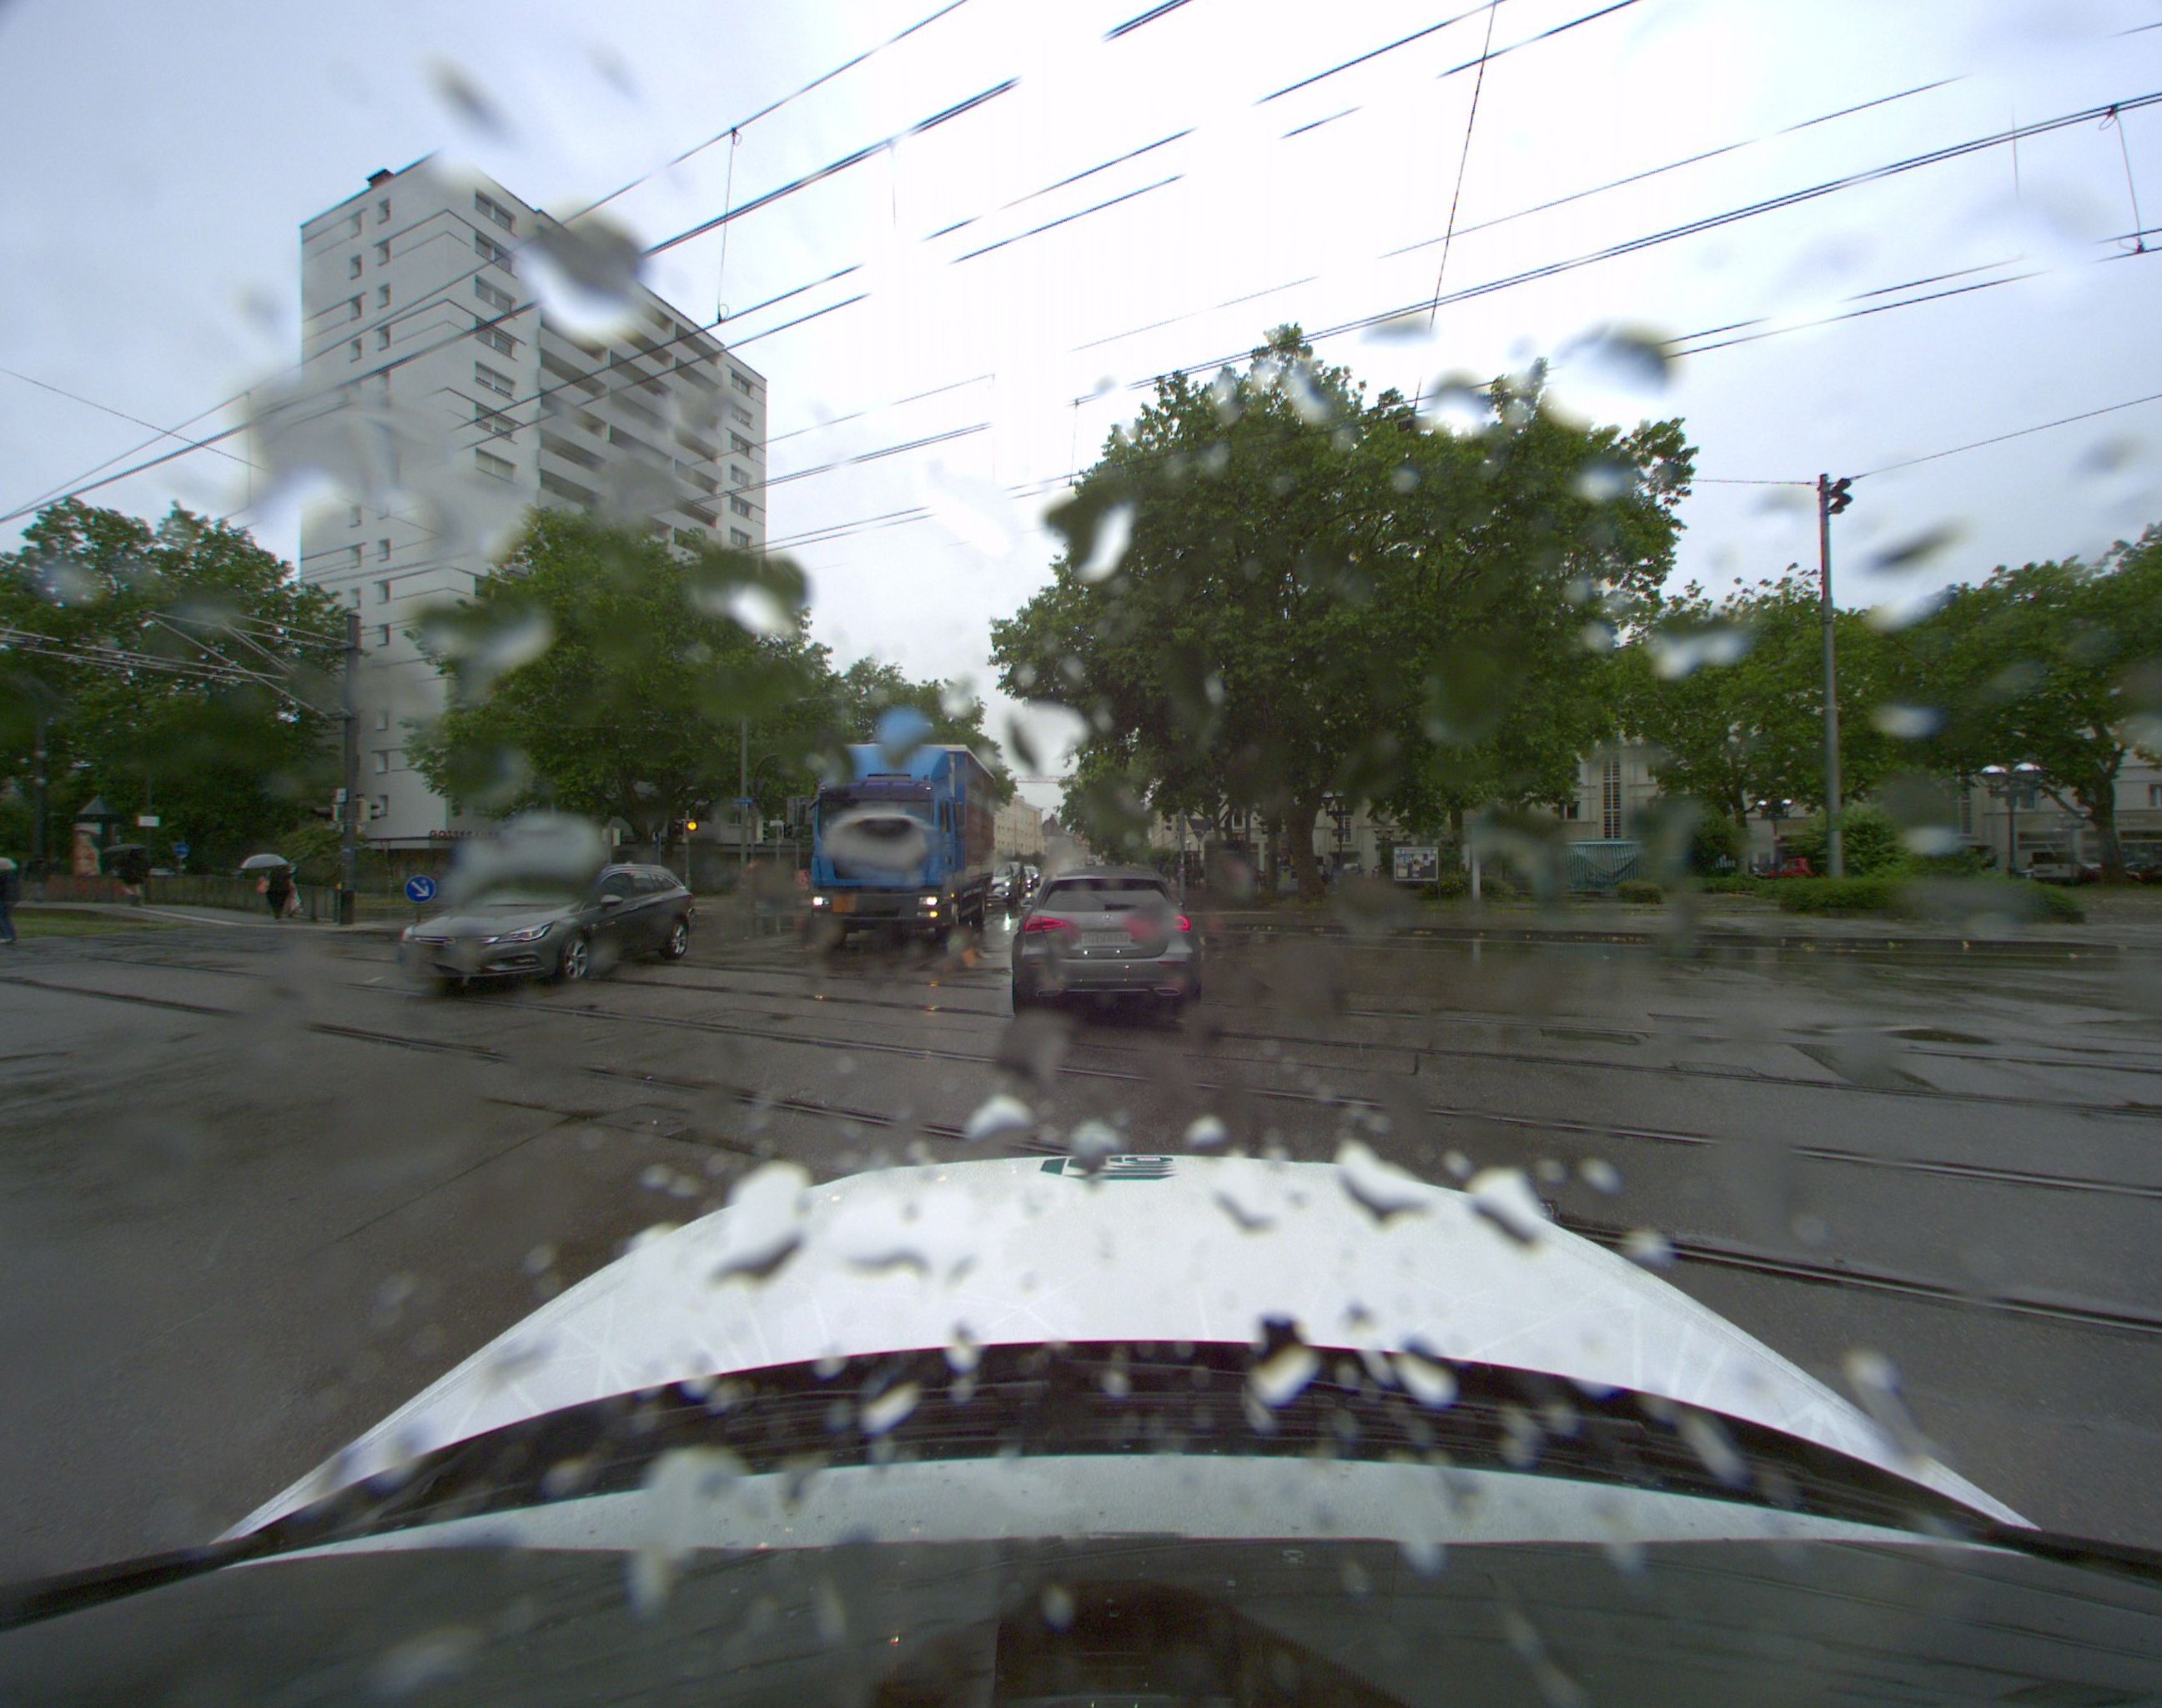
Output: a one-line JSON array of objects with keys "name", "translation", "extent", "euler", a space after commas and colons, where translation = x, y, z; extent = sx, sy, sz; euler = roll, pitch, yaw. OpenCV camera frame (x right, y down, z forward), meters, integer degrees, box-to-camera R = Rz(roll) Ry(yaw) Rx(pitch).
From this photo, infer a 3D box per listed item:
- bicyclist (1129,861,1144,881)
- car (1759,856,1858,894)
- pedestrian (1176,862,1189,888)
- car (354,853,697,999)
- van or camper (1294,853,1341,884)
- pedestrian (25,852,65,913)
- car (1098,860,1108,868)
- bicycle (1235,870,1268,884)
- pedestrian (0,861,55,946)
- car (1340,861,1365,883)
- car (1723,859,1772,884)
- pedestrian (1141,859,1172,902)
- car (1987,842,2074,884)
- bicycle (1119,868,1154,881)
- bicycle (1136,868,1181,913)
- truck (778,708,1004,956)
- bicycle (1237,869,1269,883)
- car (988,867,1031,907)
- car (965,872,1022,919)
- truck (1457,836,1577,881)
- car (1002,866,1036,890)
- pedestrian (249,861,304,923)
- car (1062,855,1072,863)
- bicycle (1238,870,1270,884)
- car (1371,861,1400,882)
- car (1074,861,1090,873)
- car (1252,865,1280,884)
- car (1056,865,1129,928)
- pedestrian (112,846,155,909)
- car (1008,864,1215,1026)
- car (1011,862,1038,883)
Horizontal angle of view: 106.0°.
[{"name": "bicyclist", "translation": [5.294, 1.647, 77.825], "extent": [0.941, 1.868, 1.135], "euler": [0, -3, -19]}, {"name": "car", "translation": [31.412, 0.894, 35.302], "extent": [1.650, 1.521, 3.693], "euler": [-1, -1, 14]}, {"name": "pedestrian", "translation": [6.571, 1.340, 52.654], "extent": [0.715, 1.669, 0.664], "euler": [0, -1, -5]}, {"name": "car", "translation": [-7.082, 0.806, 11.054], "extent": [1.721, 1.546, 4.338], "euler": [-1, -1, -1]}, {"name": "van or camper", "translation": [17.990, 1.107, 61.792], "extent": [2.374, 2.231, 5.462], "euler": [-1, -1, 27]}, {"name": "pedestrian", "translation": [-35.935, 0.970, 28.248], "extent": [0.694, 2.077, 0.640], "euler": [-1, -1, 18]}, {"name": "car", "translation": [4.714, 2.137, 172.744], "extent": [2.038, 1.836, 4.795], "euler": [-1, -1, 3]}, {"name": "bicycle", "translation": [12.230, 1.682, 58.544], "extent": [2.261, 0.983, 0.548], "euler": [-1, -1, 22]}, {"name": "pedestrian", "translation": [-21.304, 0.975, 16.236], "extent": [0.829, 1.648, 0.759], "euler": [-2, -1, 14]}, {"name": "car", "translation": [20.253, 1.334, 60.607], "extent": [1.665, 1.575, 3.754], "euler": [-1, -2, 20]}, {"name": "car", "translation": [42.550, 1.150, 52.067], "extent": [1.535, 1.467, 3.385], "euler": [-1, -3, 24]}, {"name": "pedestrian", "translation": [2.487, 0.860, 26.758], "extent": [0.738, 1.398, 1.052], "euler": [-2, -1, 21]}, {"name": "car", "translation": [53.891, 0.572, 46.309], "extent": [1.535, 2.204, 4.121], "euler": [-1, -3, 24]}, {"name": "bicycle", "translation": [5.309, 1.974, 77.856], "extent": [3.216, 1.112, 1.047], "euler": [0, -3, -20]}, {"name": "bicycle", "translation": [2.598, 1.186, 27.023], "extent": [0.742, 1.377, 2.721], "euler": [-2, -1, 21]}, {"name": "truck", "translation": [-3.625, -0.317, 18.582], "extent": [2.837, 4.025, 10.310], "euler": [-1, -1, -1]}, {"name": "bicycle", "translation": [12.711, 1.632, 60.039], "extent": [2.227, 0.968, 0.588], "euler": [-1, -1, 22]}, {"name": "car", "translation": [-3.520, 1.605, 40.676], "extent": [1.801, 1.862, 4.108], "euler": [0, -1, 0]}, {"name": "car", "translation": [-3.235, 1.506, 30.800], "extent": [1.737, 1.604, 3.999], "euler": [0, -1, 0]}, {"name": "truck", "translation": [27.159, 0.340, 51.039], "extent": [6.325, 2.700, 2.279], "euler": [-1, -1, 20]}, {"name": "car", "translation": [-3.809, 1.481, 50.354], "extent": [1.737, 1.390, 4.361], "euler": [1, -1, 0]}, {"name": "pedestrian", "translation": [-21.978, 1.017, 22.248], "extent": [0.807, 1.648, 0.798], "euler": [-2, -1, 22]}, {"name": "car", "translation": [-3.154, 1.122, 180.104], "extent": [1.881, 1.836, 4.003], "euler": [-1, -1, 3]}, {"name": "bicycle", "translation": [12.554, 1.672, 59.154], "extent": [2.232, 0.968, 0.537], "euler": [-1, -1, 22]}, {"name": "car", "translation": [22.602, 1.323, 60.419], "extent": [1.664, 1.432, 3.756], "euler": [-1, -3, 25]}, {"name": "car", "translation": [0.142, 1.686, 104.452], "extent": [1.988, 1.574, 3.997], "euler": [-1, -1, -2]}, {"name": "car", "translation": [14.339, 1.608, 63.068], "extent": [1.568, 1.337, 3.279], "euler": [-1, -3, 23]}, {"name": "car", "translation": [0.238, 0.977, 20.291], "extent": [1.602, 1.372, 3.998], "euler": [-1, -1, -1]}, {"name": "pedestrian", "translation": [-28.413, 0.706, 24.425], "extent": [0.671, 1.838, 0.643], "euler": [-2, -1, 22]}, {"name": "car", "translation": [0.253, 0.817, 8.851], "extent": [1.786, 1.372, 3.505], "euler": [1, -1, -1]}, {"name": "car", "translation": [-4.248, 1.411, 61.860], "extent": [1.840, 1.510, 4.052], "euler": [0, -1, -2]}]
